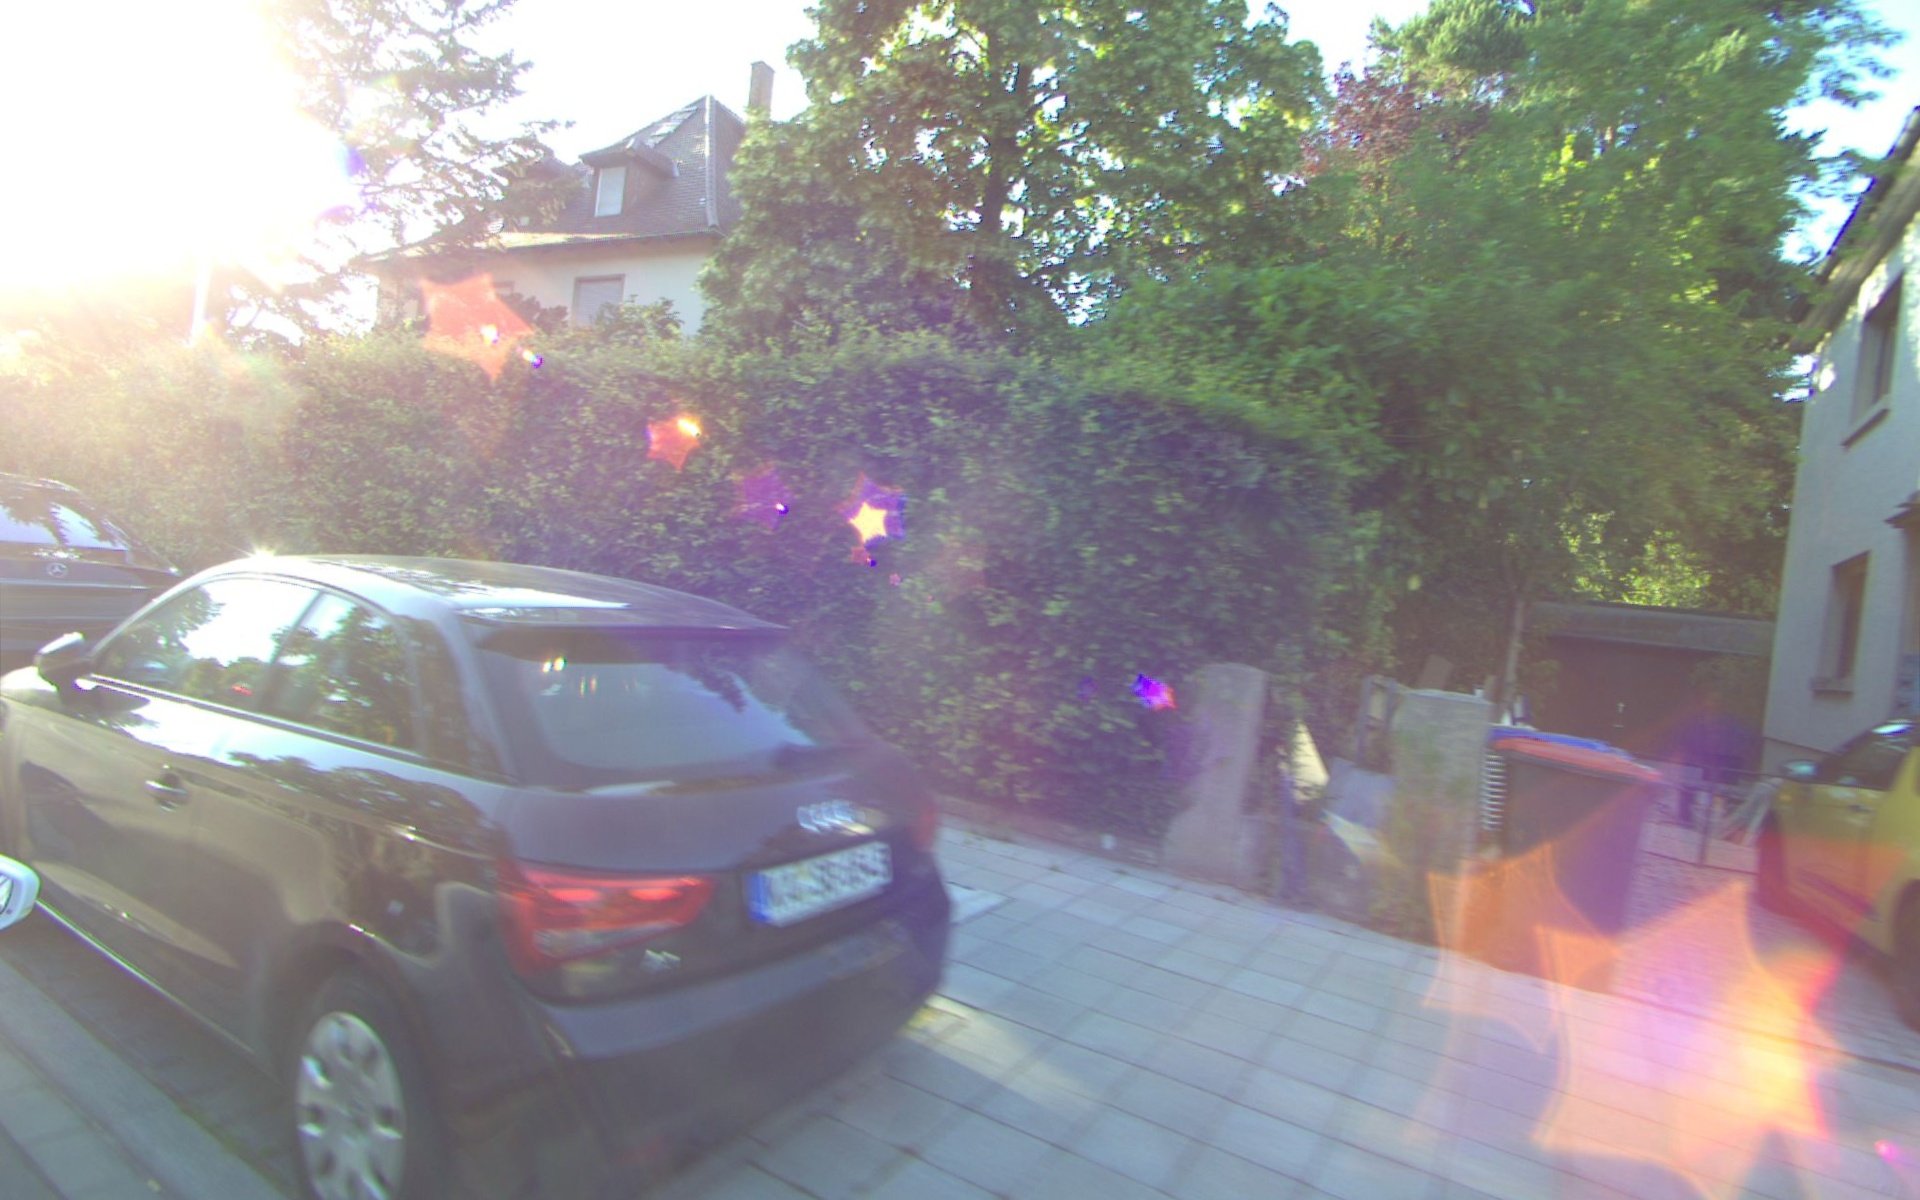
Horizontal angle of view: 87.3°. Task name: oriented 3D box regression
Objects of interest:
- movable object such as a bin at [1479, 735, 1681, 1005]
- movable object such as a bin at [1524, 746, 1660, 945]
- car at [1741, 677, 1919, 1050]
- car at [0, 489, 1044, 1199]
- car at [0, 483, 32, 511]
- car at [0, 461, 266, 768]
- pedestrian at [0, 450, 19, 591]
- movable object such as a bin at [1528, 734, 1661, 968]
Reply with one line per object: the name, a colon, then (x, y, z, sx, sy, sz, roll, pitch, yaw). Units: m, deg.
movable object such as a bin: (2.904, 1.230, 4.771, 0.647, 1.056, 0.509, 7, 0, 26)
movable object such as a bin: (3.571, 1.363, 5.717, 0.493, 0.955, 0.509, 7, 0, 26)
car: (5.627, 1.321, 5.176, 1.750, 1.515, 3.639, 7, 1, 28)
car: (-1.877, 0.515, 3.394, 3.870, 1.446, 1.642, 7, 2, 31)
car: (-57.581, -6.278, 59.270, 1.569, 1.444, 3.854, 7, -1, 27)
car: (-6.830, -0.150, 6.513, 4.790, 1.561, 1.862, 7, 0, 30)
pedestrian: (-12.211, -1.031, 12.341, 0.612, 1.729, 0.670, 7, 0, 29)
movable object such as a bin: (3.271, 1.267, 5.217, 0.409, 1.056, 0.509, 7, 0, 26)
